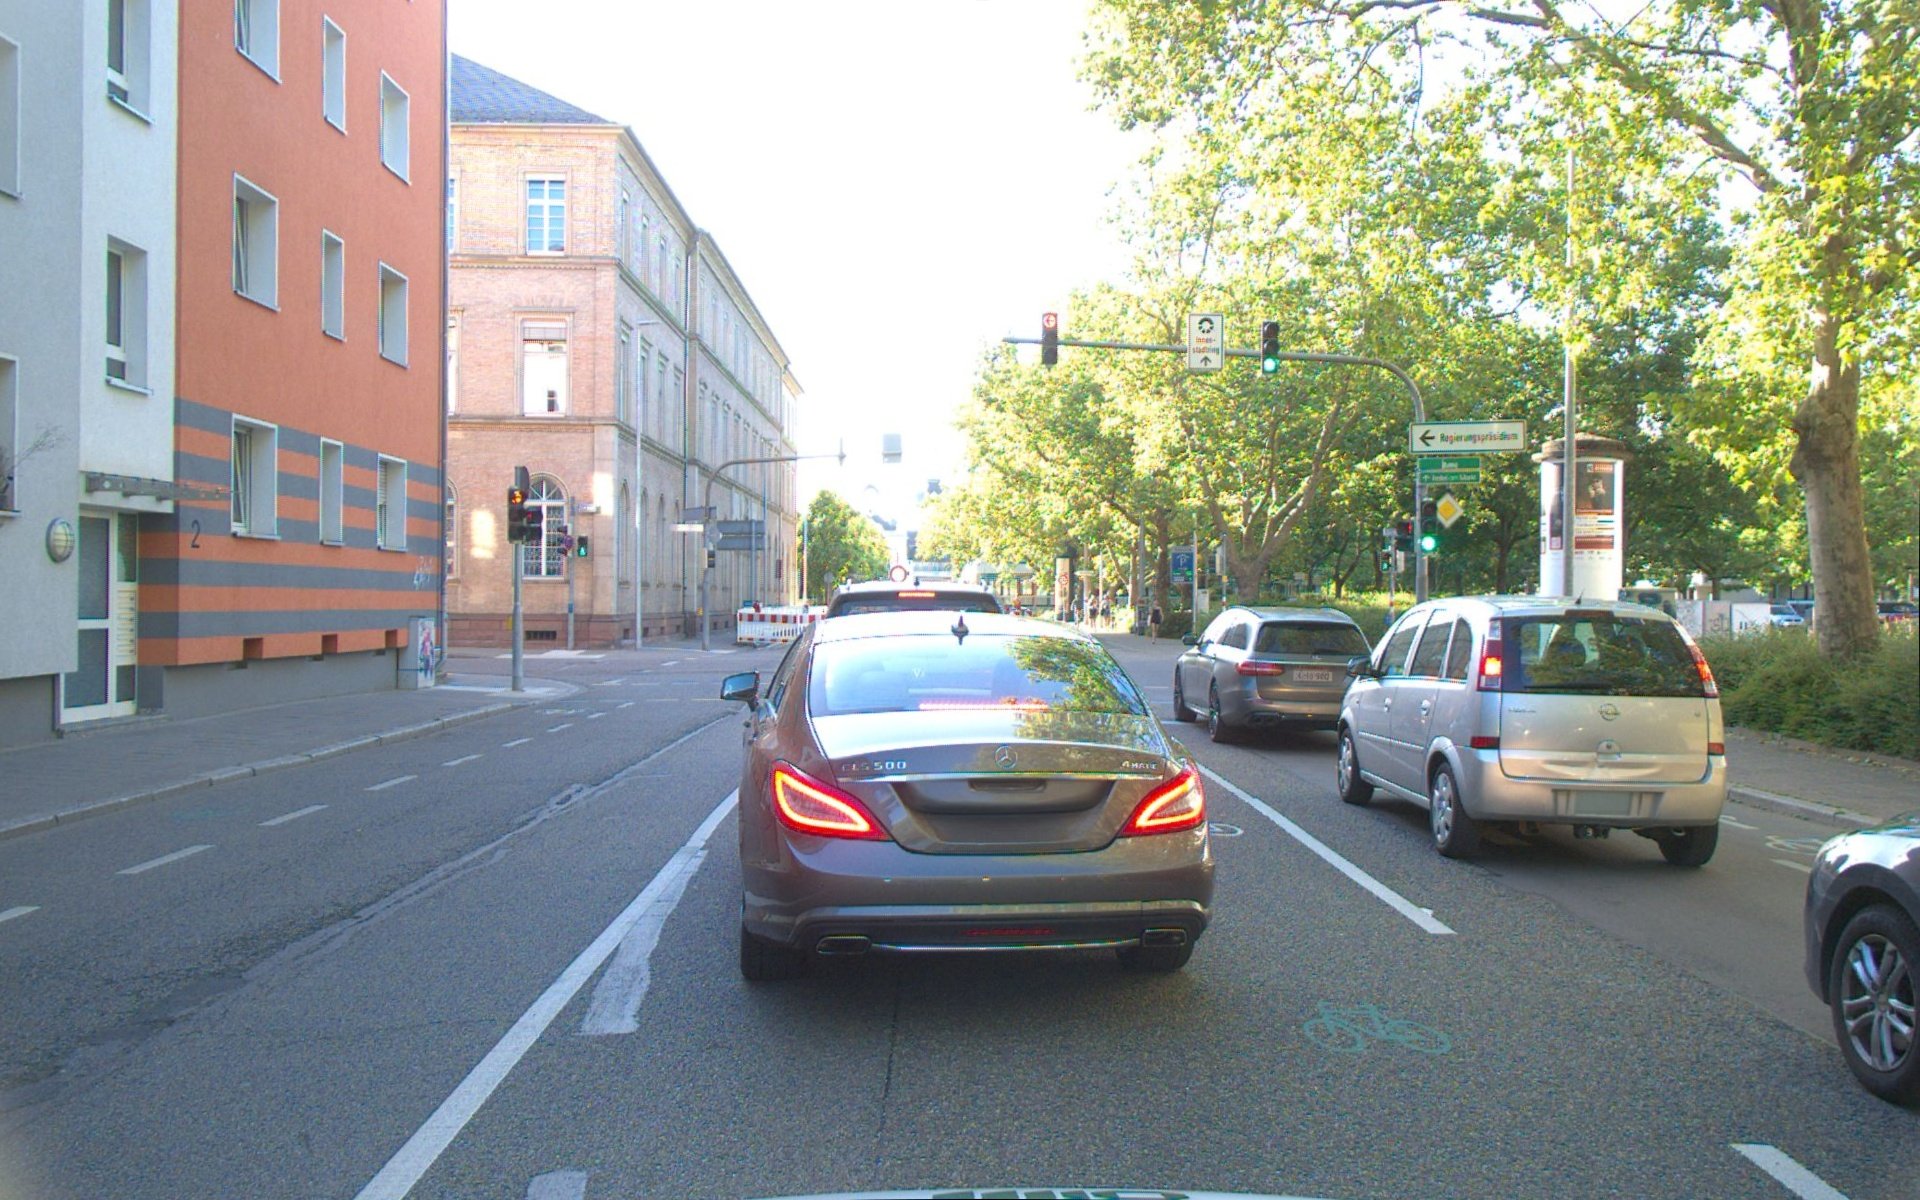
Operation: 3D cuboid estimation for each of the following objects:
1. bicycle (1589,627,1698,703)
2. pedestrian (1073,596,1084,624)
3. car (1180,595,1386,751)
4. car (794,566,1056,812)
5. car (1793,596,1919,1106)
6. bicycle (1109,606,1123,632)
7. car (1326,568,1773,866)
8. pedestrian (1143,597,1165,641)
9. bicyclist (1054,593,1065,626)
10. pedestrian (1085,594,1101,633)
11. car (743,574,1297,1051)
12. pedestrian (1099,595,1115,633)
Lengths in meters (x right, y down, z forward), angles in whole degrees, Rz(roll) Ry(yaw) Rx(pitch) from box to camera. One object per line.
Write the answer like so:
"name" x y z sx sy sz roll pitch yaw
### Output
"bicycle" 9.869 0.920 23.857 1.868 1.046 0.633 1 -1 -39
"pedestrian" 6.543 0.544 91.319 0.545 1.535 0.345 1 -1 -5
"car" 3.576 0.762 18.907 1.568 1.576 3.680 1 0 -1
"car" -0.271 0.620 13.611 1.823 1.712 3.999 1 0 -1
"car" 3.774 0.776 3.783 1.670 1.545 3.999 1 0 -1
"bicycle" 7.390 0.885 78.349 0.472 1.223 1.606 1 0 -1
"car" 3.803 0.682 11.352 1.696 1.691 3.680 1 0 -1
"pedestrian" 7.107 0.695 60.700 0.623 1.572 0.909 1 0 -5
"bicyclist" 6.343 0.597 105.067 0.583 2.075 0.565 1 -1 -5
"pedestrian" 6.329 0.632 78.728 0.623 1.828 0.698 1 -1 -5
"car" -0.035 0.691 7.483 1.826 1.545 3.993 1 0 -8
"pedestrian" 6.976 0.668 78.716 0.623 1.791 0.698 1 -1 -5
